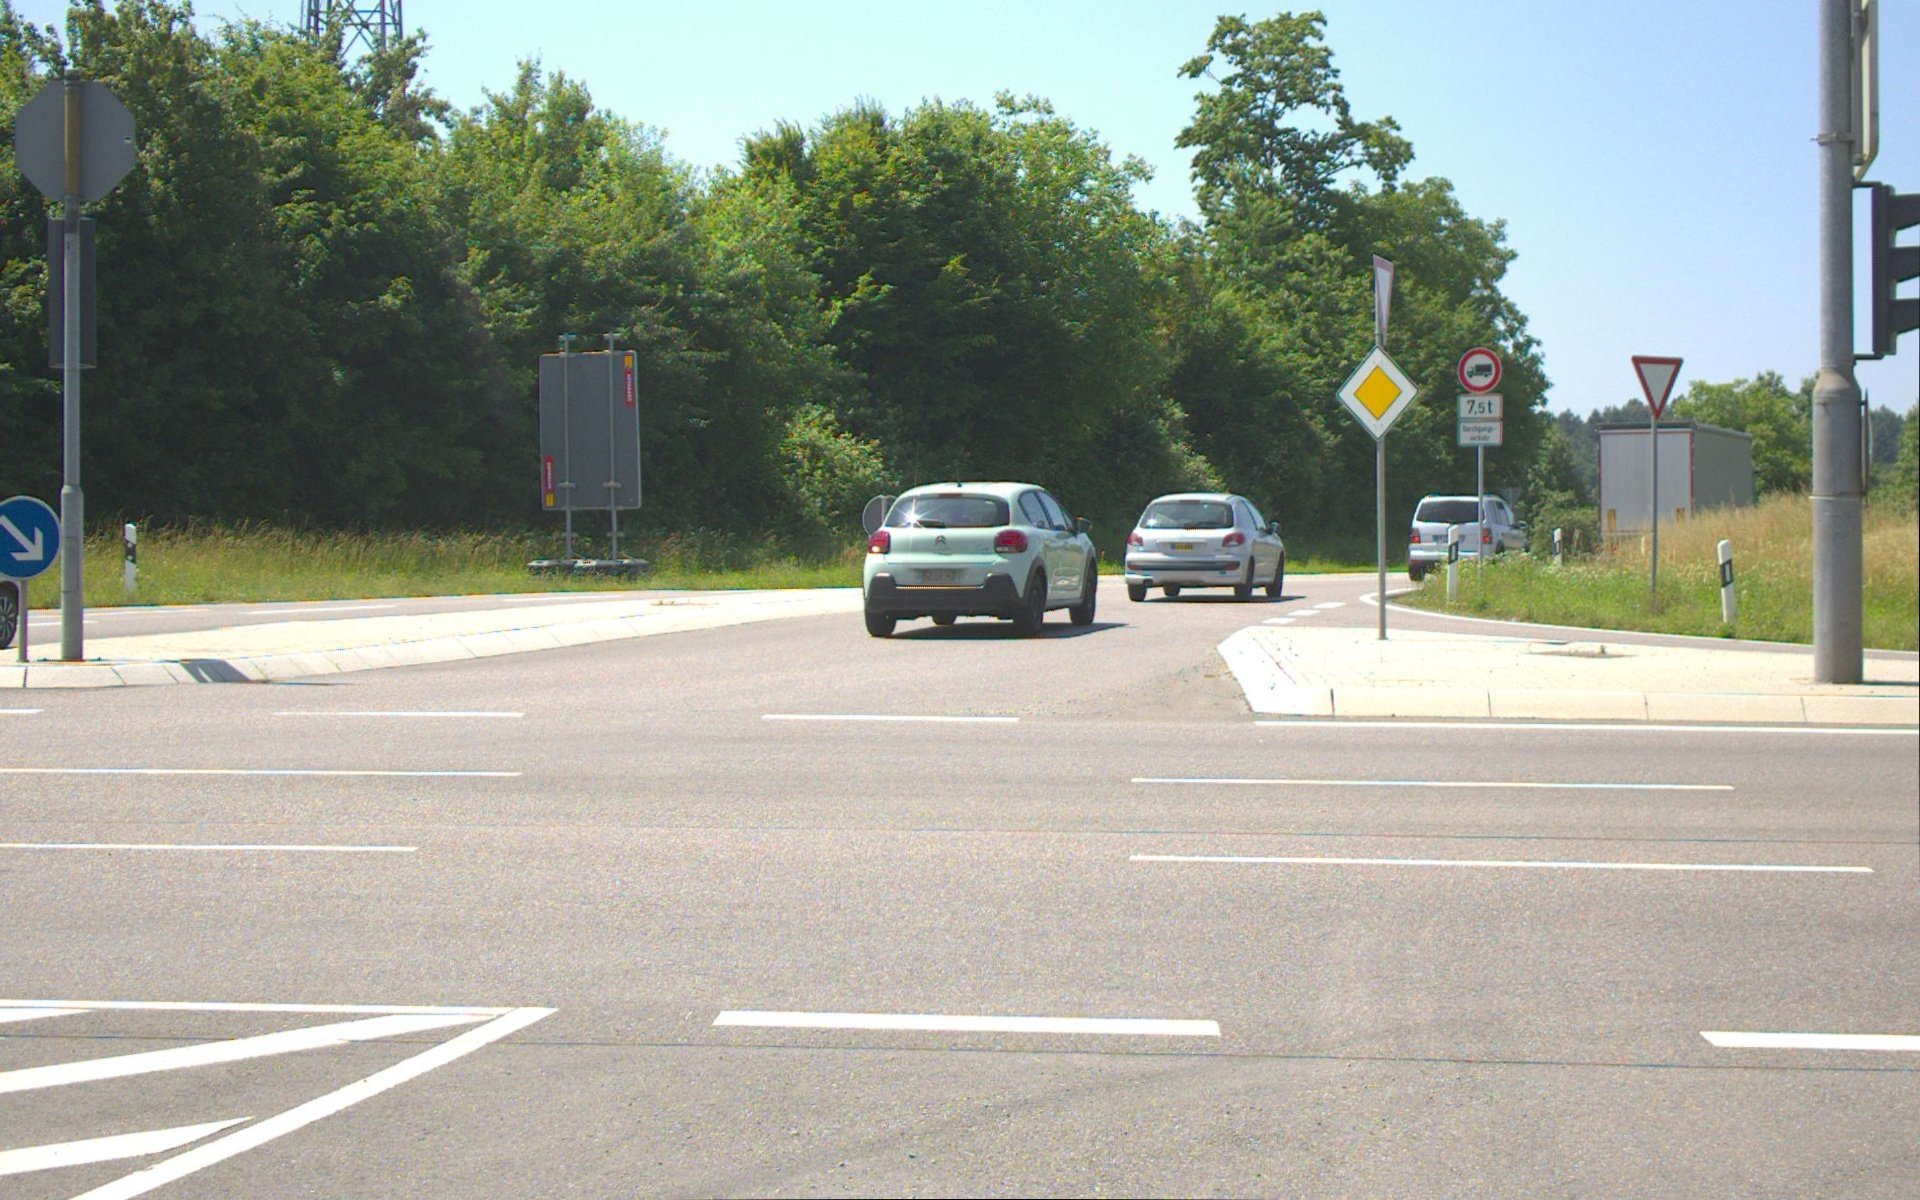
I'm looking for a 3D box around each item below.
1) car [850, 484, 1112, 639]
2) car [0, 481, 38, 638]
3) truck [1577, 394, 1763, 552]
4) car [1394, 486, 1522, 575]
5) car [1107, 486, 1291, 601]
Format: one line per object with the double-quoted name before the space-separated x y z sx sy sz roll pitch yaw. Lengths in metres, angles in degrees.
"car" 0.272 -0.433 34.398 1.730 1.399 3.985 1 3 14
"car" -9.501 -0.320 29.287 1.566 1.366 3.529 1 3 16
"truck" 20.630 -3.546 98.923 3.128 4.158 16.671 1 2 19
"car" 9.722 -1.382 66.905 1.814 1.619 4.057 0 3 18
"car" 3.241 -0.788 46.029 1.814 1.408 3.781 1 3 14
